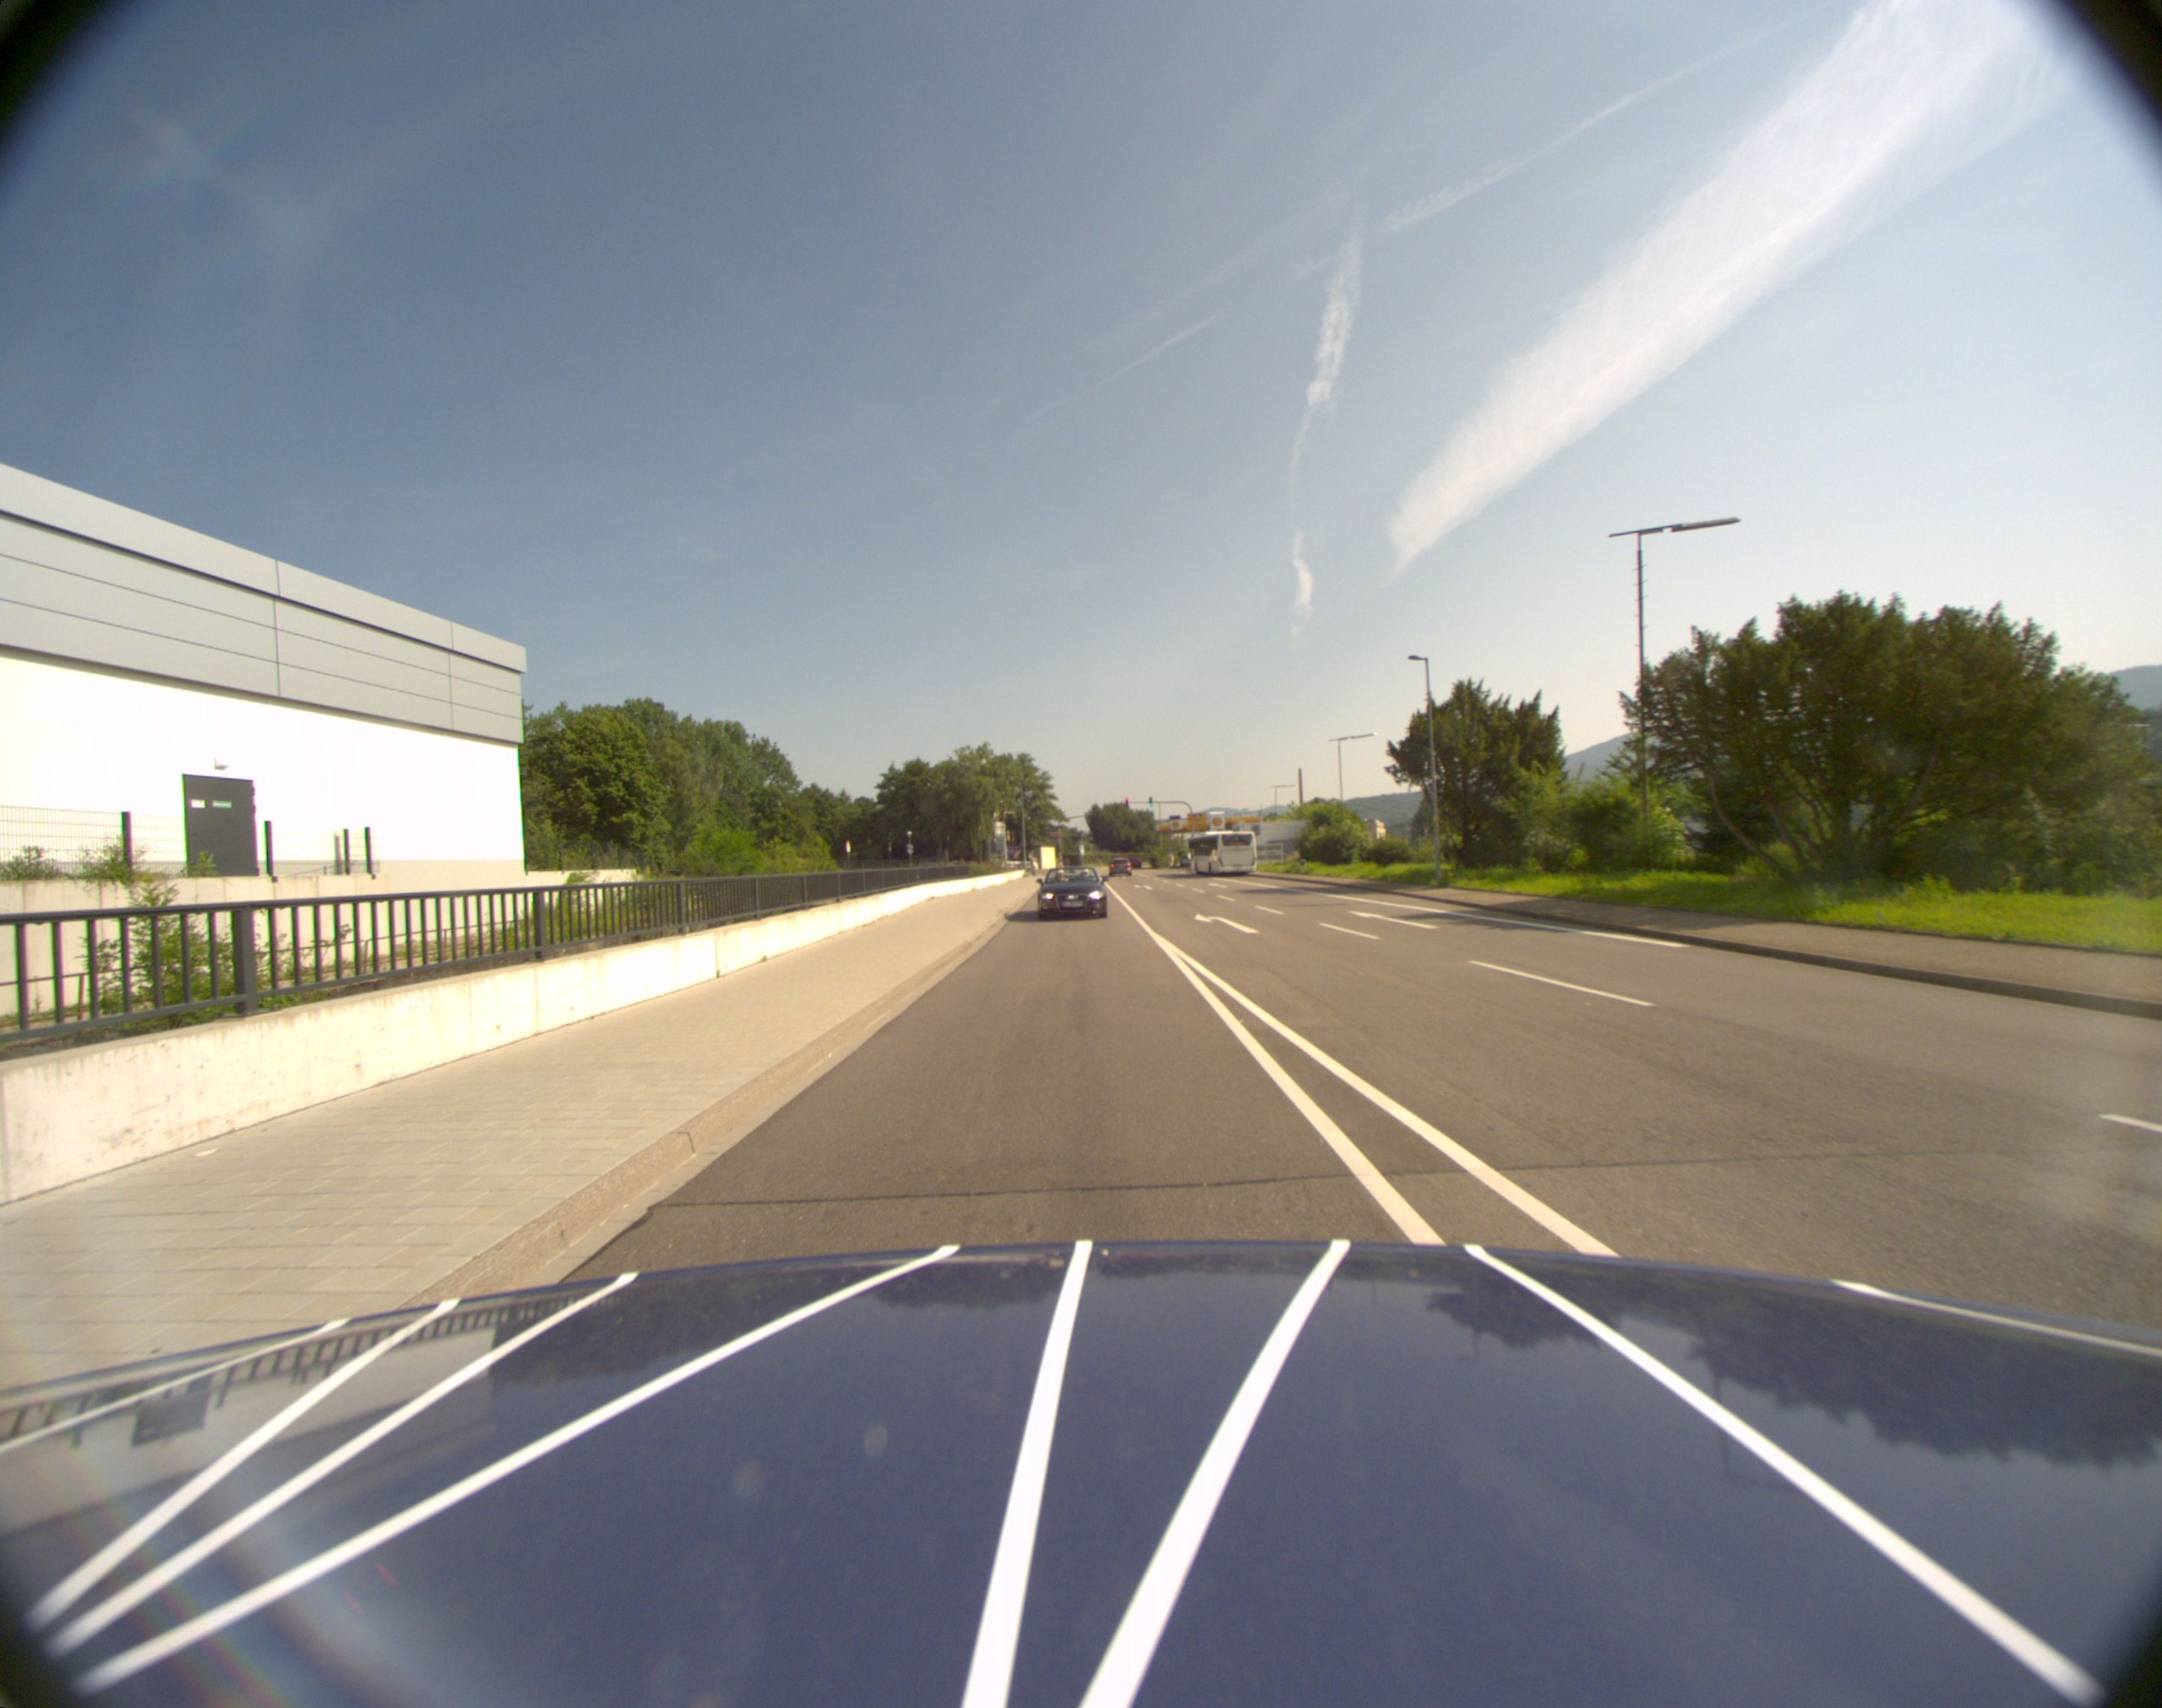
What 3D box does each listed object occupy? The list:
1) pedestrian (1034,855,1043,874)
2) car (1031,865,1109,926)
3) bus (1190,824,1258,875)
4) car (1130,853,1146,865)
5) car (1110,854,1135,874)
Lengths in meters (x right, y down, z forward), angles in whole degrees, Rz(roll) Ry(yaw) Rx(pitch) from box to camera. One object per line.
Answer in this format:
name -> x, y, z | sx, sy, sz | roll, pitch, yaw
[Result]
pedestrian -> -3.759, 0.888, 67.565 | 0.712, 1.661, 0.593 | -2, 1, -7
car -> -0.229, 1.063, 20.926 | 1.868, 1.323, 4.232 | -2, 1, 1
bus -> 10.279, -0.335, 55.932 | 2.627, 3.291, 11.955 | -2, 0, 0
car -> 7.494, 0.614, 100.219 | 1.842, 1.483, 4.431 | -2, 0, 0
car -> 3.313, 0.773, 61.266 | 1.777, 1.464, 4.219 | -2, 0, 1
